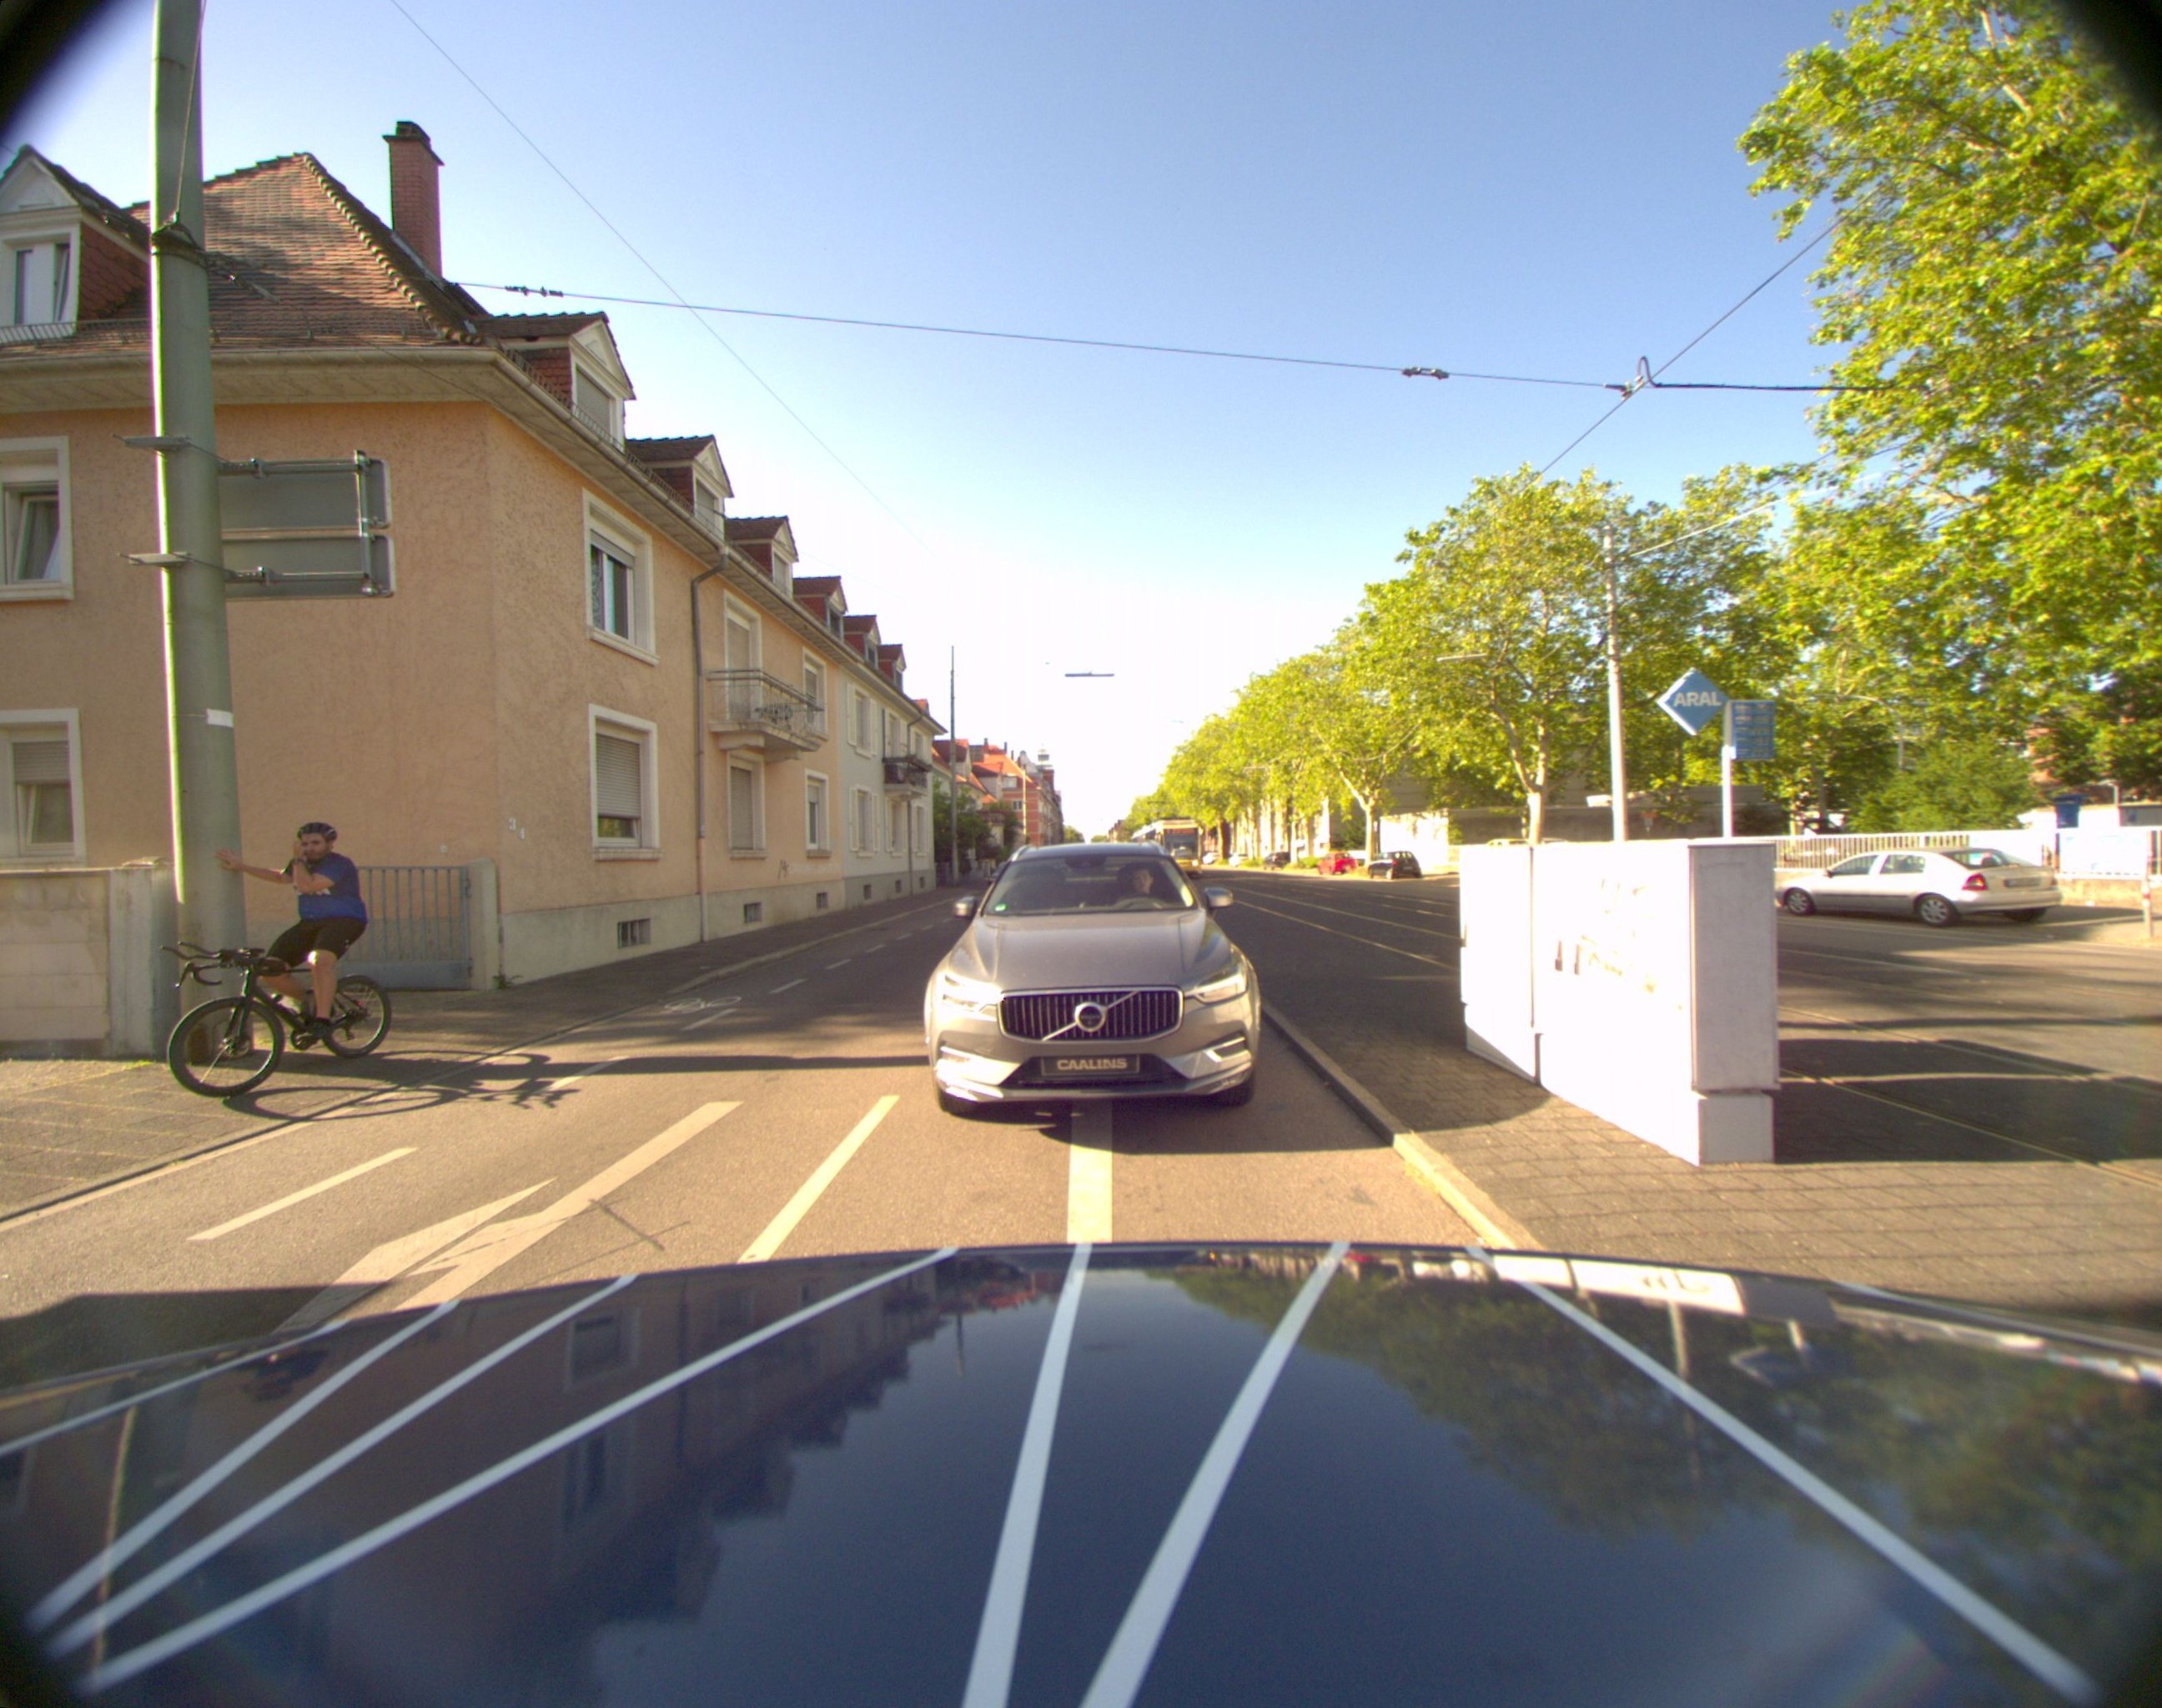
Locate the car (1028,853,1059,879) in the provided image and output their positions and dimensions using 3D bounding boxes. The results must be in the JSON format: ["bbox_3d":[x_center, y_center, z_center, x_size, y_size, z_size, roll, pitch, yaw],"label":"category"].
[{"bbox_3d":[-2.621,0.840,54.010,1.793,1.673,3.814,-3,0,2],"label":"car"}]

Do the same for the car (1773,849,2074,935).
[{"bbox_3d":[16.234,0.645,14.985,1.695,1.395,3.813,-3,0,1],"label":"car"}]

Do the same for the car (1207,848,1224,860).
[{"bbox_3d":[17.808,0.035,100.718,1.695,1.440,3.749,-3,0,1],"label":"car"}]

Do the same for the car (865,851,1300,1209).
[{"bbox_3d":[0.037,0.830,5.758,1.998,1.628,4.306,-2,0,1],"label":"car"}]

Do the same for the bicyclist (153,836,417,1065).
[{"bbox_3d":[-6.165,0.700,5.954,1.051,1.599,0.885,4,0,1],"label":"bicyclist"}]

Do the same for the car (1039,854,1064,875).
[{"bbox_3d":[-2.539,0.865,67.080,1.793,1.673,3.814,-3,0,2],"label":"car"}]

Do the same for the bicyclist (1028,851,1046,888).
[{"bbox_3d":[-1.939,0.673,33.507,0.685,1.611,0.855,-2,1,1],"label":"bicyclist"}]

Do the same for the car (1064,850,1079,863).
[{"bbox_3d":[-1.277,0.372,107.108,1.793,1.673,3.814,-3,0,2],"label":"car"}]

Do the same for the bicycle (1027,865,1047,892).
[{"bbox_3d":[-1.929,1.070,33.644,0.685,1.098,1.806,-2,1,1],"label":"bicycle"}]

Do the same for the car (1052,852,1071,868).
[{"bbox_3d":[-2.137,0.641,85.375,1.793,1.673,3.814,-3,0,2],"label":"car"}]

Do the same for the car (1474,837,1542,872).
[{"bbox_3d":[21.556,0.021,38.477,1.599,1.606,3.304,-2,0,1],"label":"car"}]

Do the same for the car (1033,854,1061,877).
[{"bbox_3d":[-2.708,0.891,61.035,1.793,1.673,3.814,-3,0,2],"label":"car"}]

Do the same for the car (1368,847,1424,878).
[{"bbox_3d":[16.895,0.433,40.899,1.599,1.498,3.304,-3,0,1],"label":"car"}]

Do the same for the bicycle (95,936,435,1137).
[{"bbox_3d":[-5.972,1.262,5.742,0.592,1.062,1.775,4,0,1],"label":"bicycle"}]

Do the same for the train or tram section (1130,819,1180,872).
[{"bbox_3d":[5.627,-0.621,59.952,2.717,3.643,12.653,-1,0,0],"label":"train or tram section"}]

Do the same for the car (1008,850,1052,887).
[{"bbox_3d":[-2.814,0.746,42.825,1.793,1.828,5.149,-3,0,2],"label":"car"}]

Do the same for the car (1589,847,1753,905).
[{"bbox_3d":[16.420,0.565,21.420,1.695,1.395,3.749,-3,0,1],"label":"car"}]

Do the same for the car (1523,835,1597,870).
[{"bbox_3d":[23.889,-0.075,38.029,1.599,1.583,3.304,-2,0,1],"label":"car"}]

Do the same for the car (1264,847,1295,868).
[{"bbox_3d":[17.150,0.281,65.893,1.695,1.648,3.749,-3,0,1],"label":"car"}]

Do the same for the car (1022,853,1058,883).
[{"bbox_3d":[-2.574,0.858,48.490,1.793,1.673,3.814,-3,0,2],"label":"car"}]

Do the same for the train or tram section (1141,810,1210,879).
[{"bbox_3d":[5.575,-0.548,47.289,2.717,3.643,12.653,-1,0,0],"label":"train or tram section"}]

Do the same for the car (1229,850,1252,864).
[{"bbox_3d":[17.477,0.300,83.547,1.695,1.440,3.749,-3,0,1],"label":"car"}]

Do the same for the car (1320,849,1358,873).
[{"bbox_3d":[16.888,0.441,49.870,1.599,1.498,2.622,-3,0,1],"label":"car"}]

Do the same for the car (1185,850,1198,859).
[{"bbox_3d":[18.217,0.081,125.527,1.695,1.440,3.749,-3,0,1],"label":"car"}]

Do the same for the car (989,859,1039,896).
[{"bbox_3d":[-3.213,1.088,37.052,1.695,1.571,3.815,-3,0,5],"label":"car"}]
